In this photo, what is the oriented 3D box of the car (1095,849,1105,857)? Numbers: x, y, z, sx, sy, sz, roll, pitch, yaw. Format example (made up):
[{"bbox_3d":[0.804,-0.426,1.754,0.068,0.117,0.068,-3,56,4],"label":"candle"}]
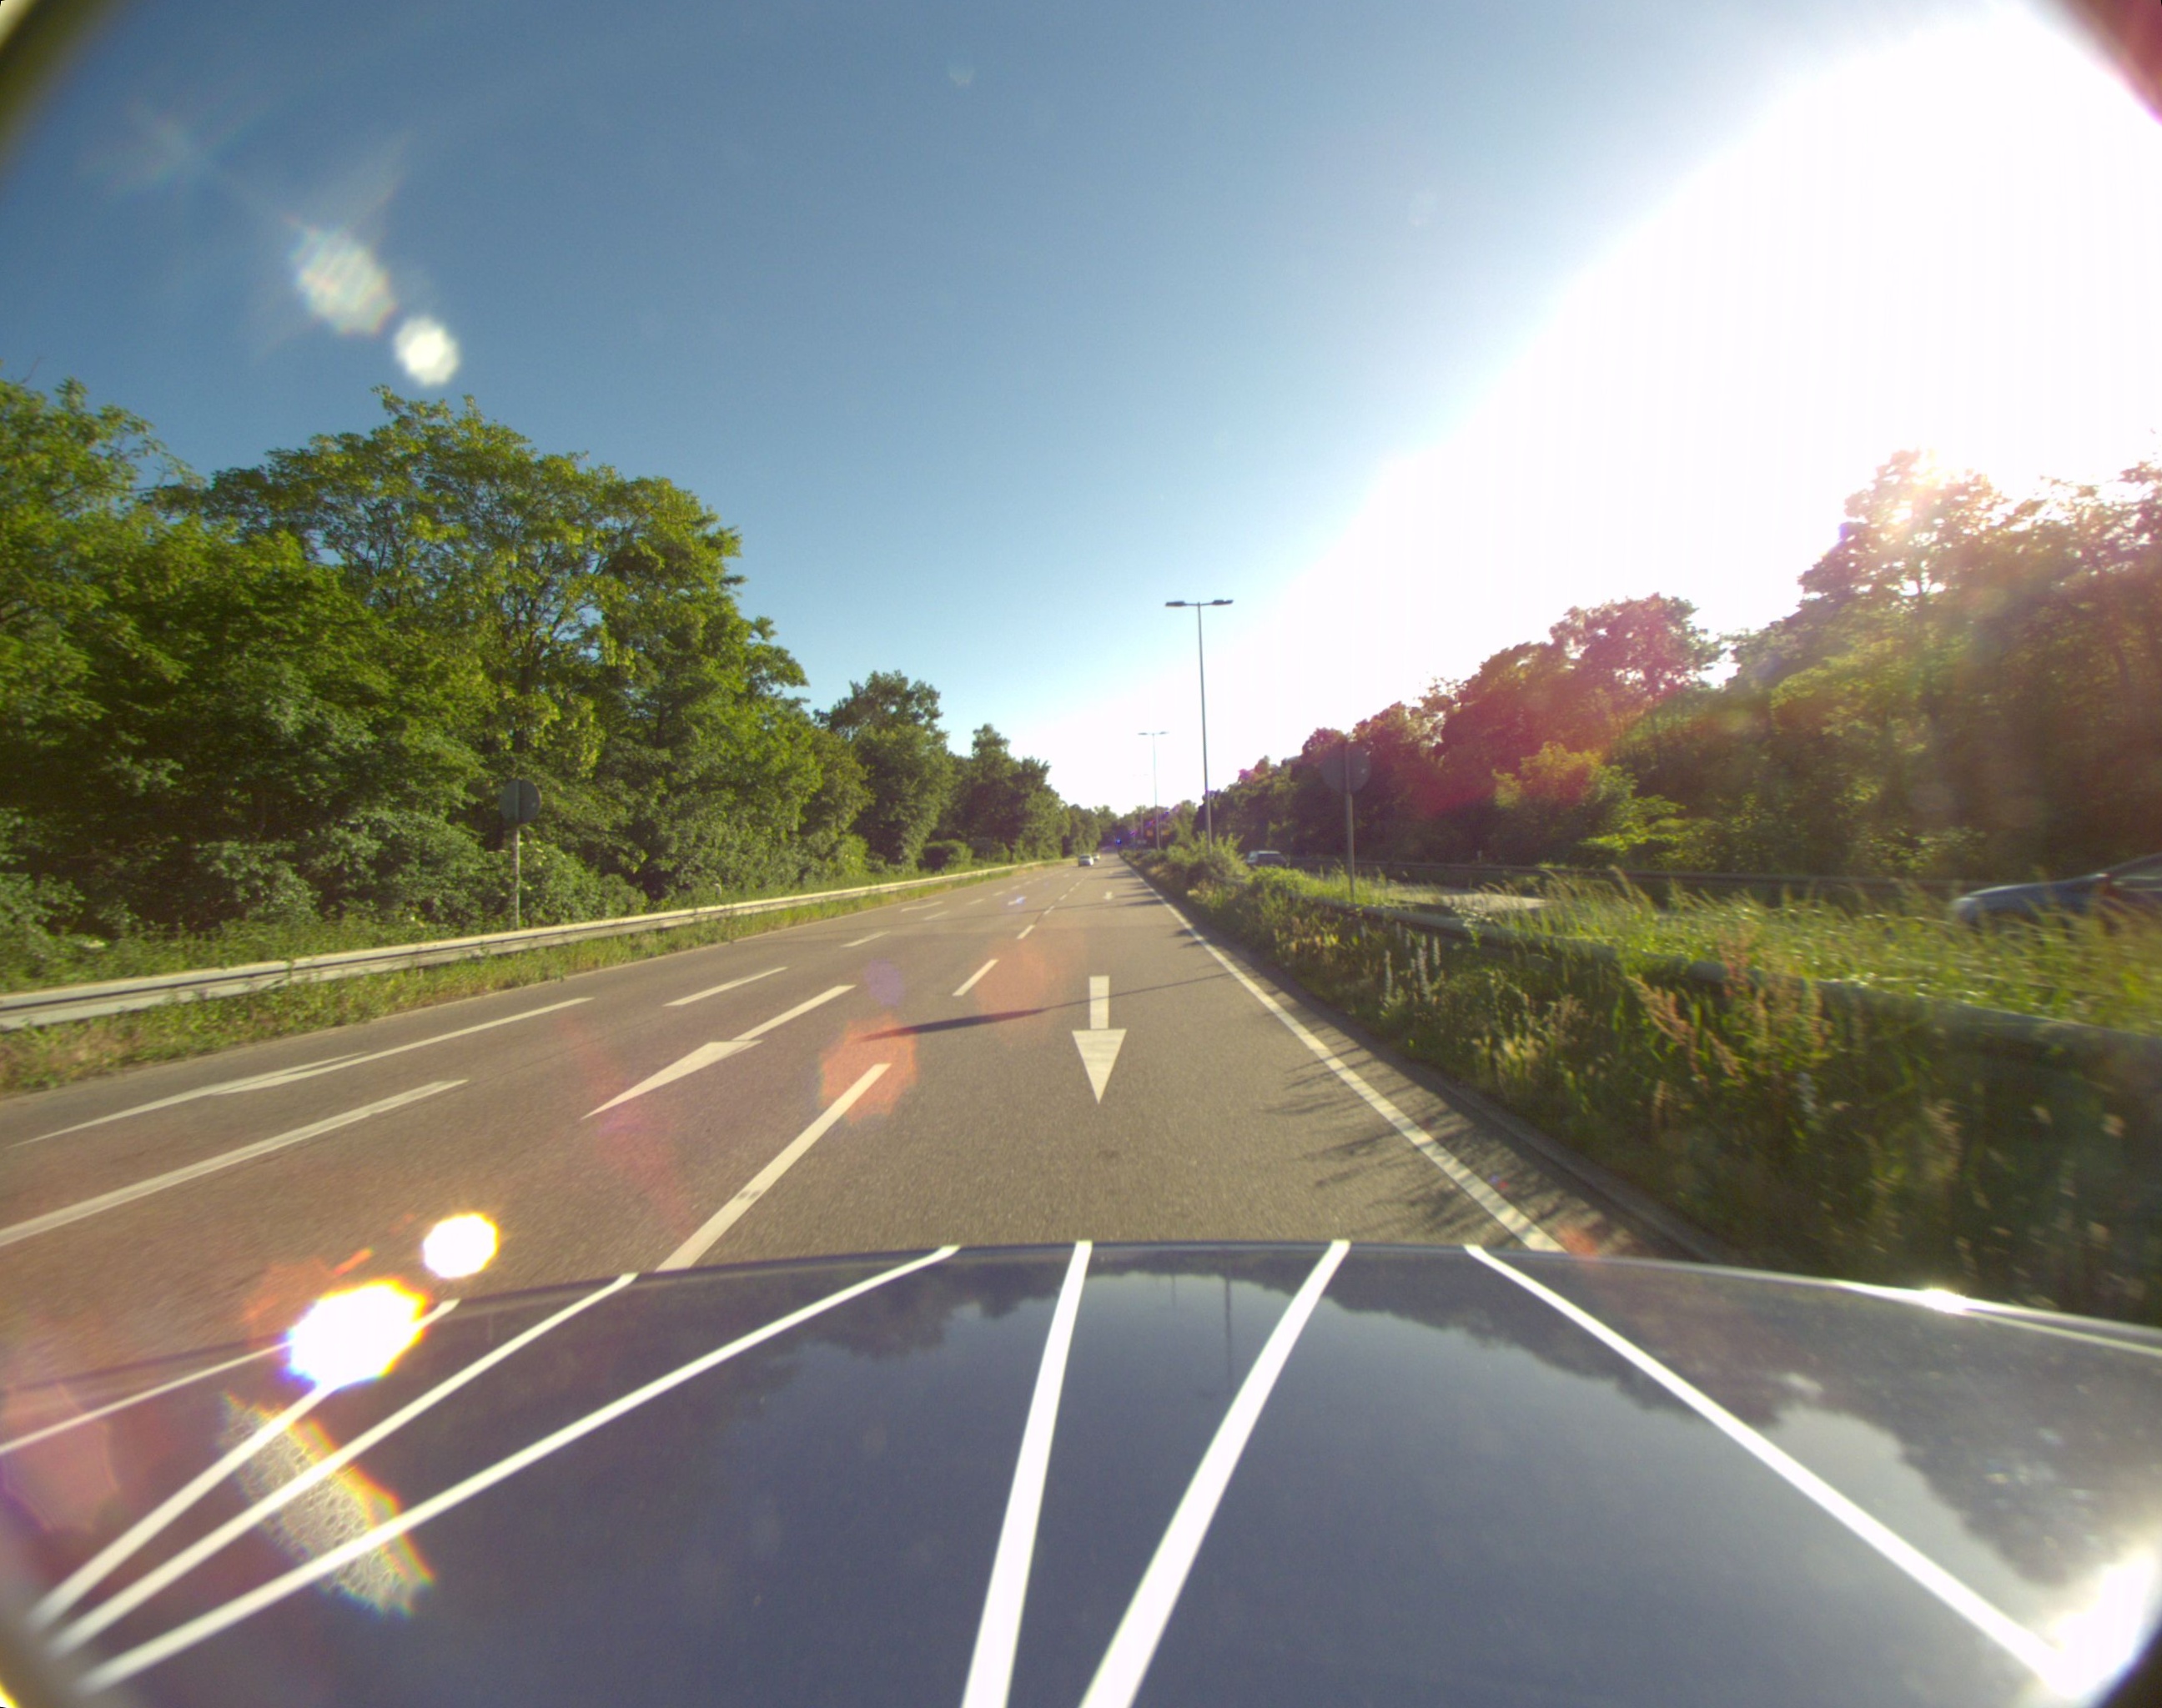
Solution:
[{"bbox_3d":[3.823,-0.226,150.557,1.910,1.477,3.345,-2,0,1],"label":"car"}]

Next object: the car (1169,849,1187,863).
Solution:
[{"bbox_3d":[11.839,0.220,93.054,1.774,1.560,4.218,-2,0,1],"label":"car"}]

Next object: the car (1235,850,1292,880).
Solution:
[{"bbox_3d":[9.169,0.537,38.517,1.809,1.408,4.531,-1,0,0],"label":"car"}]

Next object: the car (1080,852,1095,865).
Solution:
[{"bbox_3d":[0.810,0.530,94.023,1.681,1.477,3.391,-2,0,1],"label":"car"}]

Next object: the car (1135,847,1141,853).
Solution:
[{"bbox_3d":[18.452,-1.238,245.776,1.846,1.747,4.712,-2,0,2],"label":"car"}]

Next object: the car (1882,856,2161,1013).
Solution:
[{"bbox_3d":[10.681,0.729,6.973,1.891,1.412,4.362,0,0,-4],"label":"car"}]

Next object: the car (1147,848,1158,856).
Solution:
[{"bbox_3d":[13.563,-0.341,144.593,1.777,1.349,4.462,-2,0,2],"label":"car"}]
